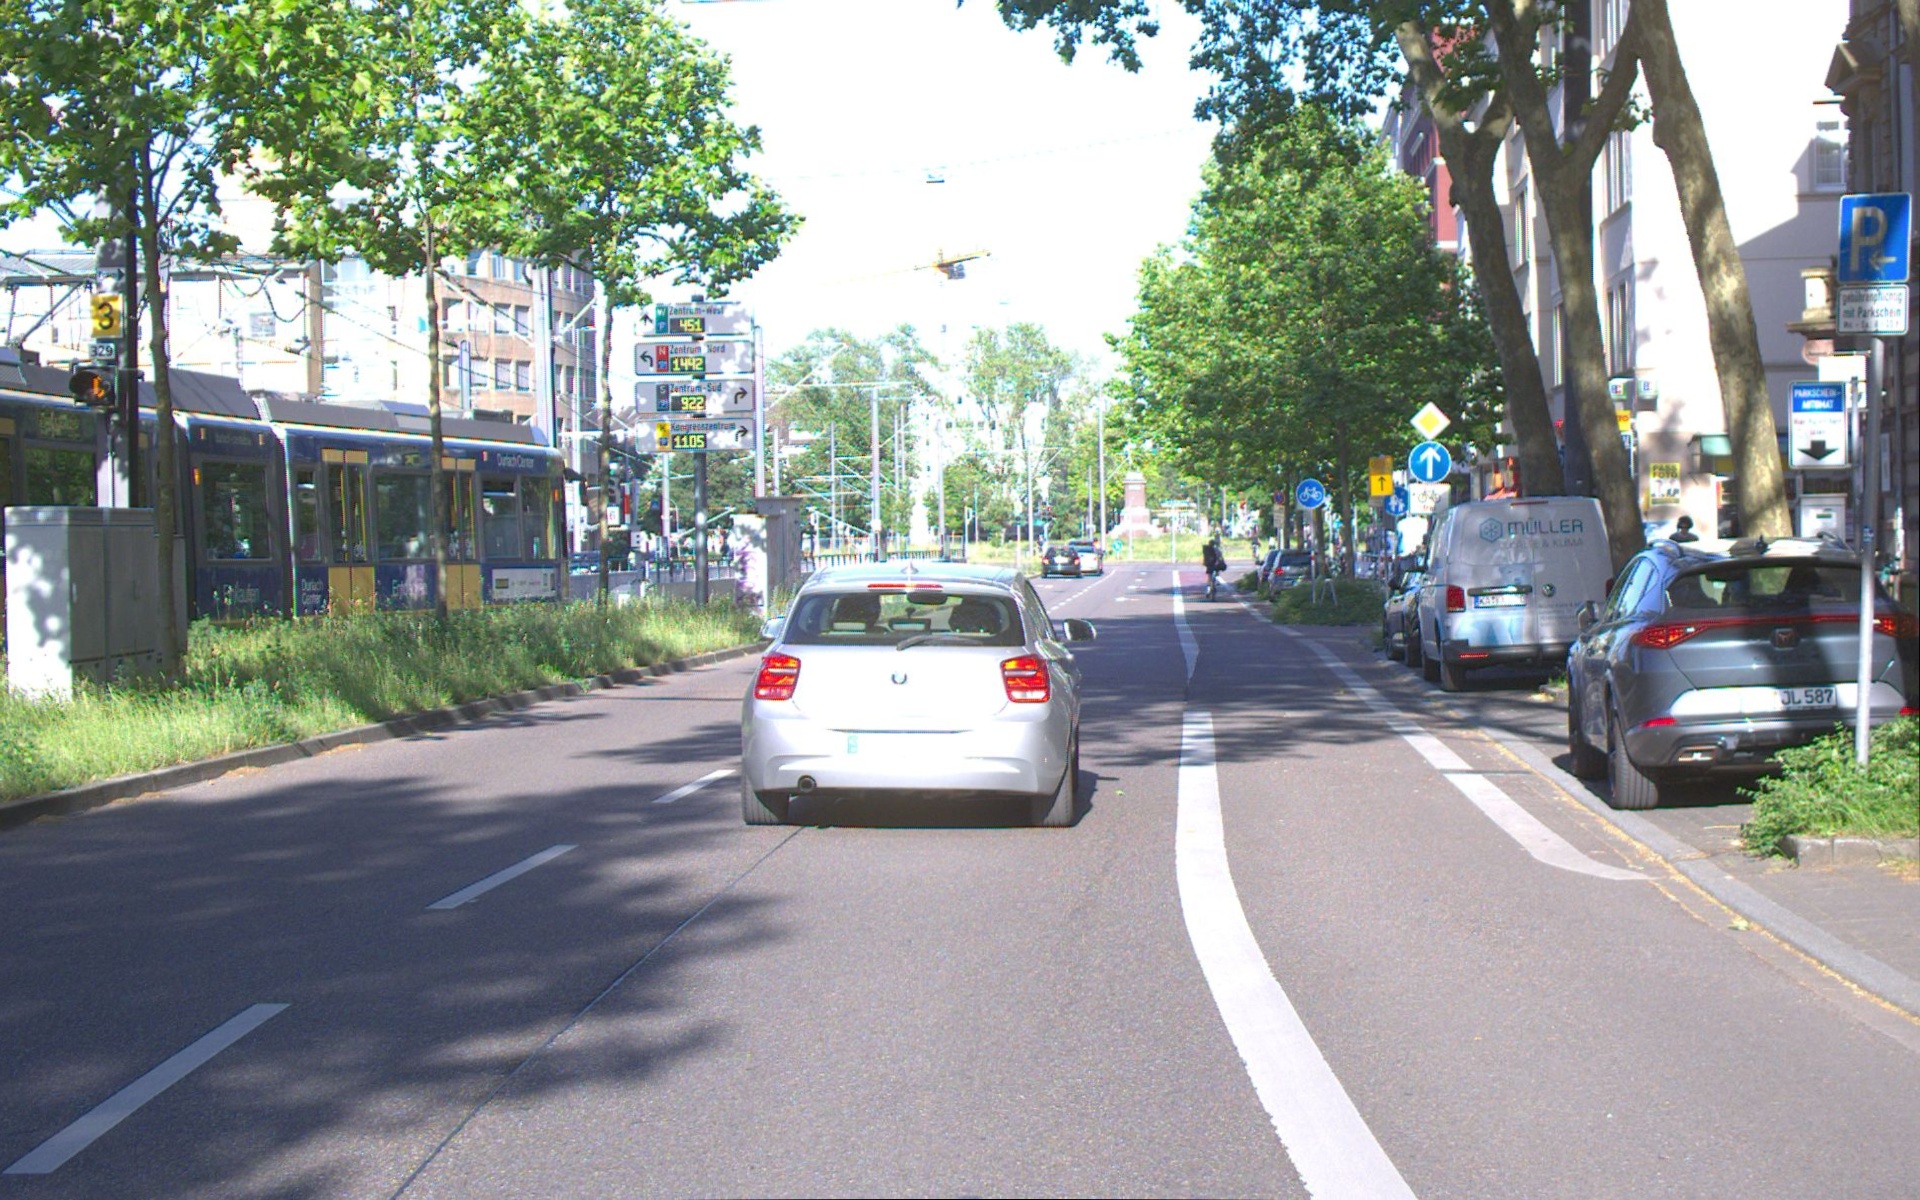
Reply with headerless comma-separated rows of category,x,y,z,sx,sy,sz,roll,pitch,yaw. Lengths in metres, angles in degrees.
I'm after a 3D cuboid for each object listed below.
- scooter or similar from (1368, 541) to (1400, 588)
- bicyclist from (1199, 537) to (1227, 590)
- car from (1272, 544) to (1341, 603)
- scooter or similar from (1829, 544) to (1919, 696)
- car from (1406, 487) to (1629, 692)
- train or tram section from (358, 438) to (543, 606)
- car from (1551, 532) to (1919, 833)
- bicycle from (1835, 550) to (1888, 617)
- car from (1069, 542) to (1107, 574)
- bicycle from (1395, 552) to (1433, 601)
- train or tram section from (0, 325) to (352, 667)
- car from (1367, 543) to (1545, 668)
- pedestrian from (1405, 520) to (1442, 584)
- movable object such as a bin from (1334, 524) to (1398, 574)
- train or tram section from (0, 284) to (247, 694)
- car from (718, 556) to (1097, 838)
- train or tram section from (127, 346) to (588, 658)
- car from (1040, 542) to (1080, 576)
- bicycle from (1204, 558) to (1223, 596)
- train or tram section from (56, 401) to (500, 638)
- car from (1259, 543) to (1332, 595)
scooter or similar,10.967,-0.924,88.832,0.379,1.192,1.573,-1,1,24
bicyclist,7.380,-1.070,100.215,0.785,1.526,0.895,1,1,4
car,9.593,-0.760,95.388,1.695,1.497,3.801,-3,1,4
scooter or similar,7.959,0.155,28.222,1.541,1.233,0.449,-1,1,5
car,5.874,-0.143,36.713,1.856,2.007,4.723,1,1,4
train or tram section,-11.063,-1.696,75.145,2.956,3.472,6.060,1,1,2
car,4.548,0.408,20.408,1.668,1.565,4.279,1,1,5
bicycle,13.749,-0.262,52.468,0.414,0.994,1.882,0,1,3
car,5.962,-1.950,159.820,1.644,1.416,4.000,1,1,4
bicycle,11.574,-0.603,87.555,0.386,1.203,1.871,0,1,26
train or tram section,-9.387,-1.226,41.448,2.956,3.883,3.865,1,1,7
car,6.391,0.036,44.758,1.818,1.510,4.707,1,1,3
pedestrian,12.338,-1.276,91.478,0.859,1.699,0.917,0,1,1
movable object such as a bin,15.574,-1.963,131.978,1.945,1.837,3.481,-1,2,-2
train or tram section,-10.311,-1.060,32.451,2.929,3.799,14.271,1,1,5
car,-0.193,0.470,19.532,1.798,1.410,4.000,-1,1,4
train or tram section,-8.194,-1.309,48.681,2.954,3.883,10.798,1,1,9
car,4.395,-1.827,151.750,1.726,1.465,4.410,0,1,1
bicycle,7.385,-0.670,100.098,0.499,1.085,1.997,1,1,4
train or tram section,-11.503,-1.403,61.393,2.964,3.472,21.217,1,1,2
car,10.031,-0.955,103.101,2.039,1.504,4.593,0,1,4
